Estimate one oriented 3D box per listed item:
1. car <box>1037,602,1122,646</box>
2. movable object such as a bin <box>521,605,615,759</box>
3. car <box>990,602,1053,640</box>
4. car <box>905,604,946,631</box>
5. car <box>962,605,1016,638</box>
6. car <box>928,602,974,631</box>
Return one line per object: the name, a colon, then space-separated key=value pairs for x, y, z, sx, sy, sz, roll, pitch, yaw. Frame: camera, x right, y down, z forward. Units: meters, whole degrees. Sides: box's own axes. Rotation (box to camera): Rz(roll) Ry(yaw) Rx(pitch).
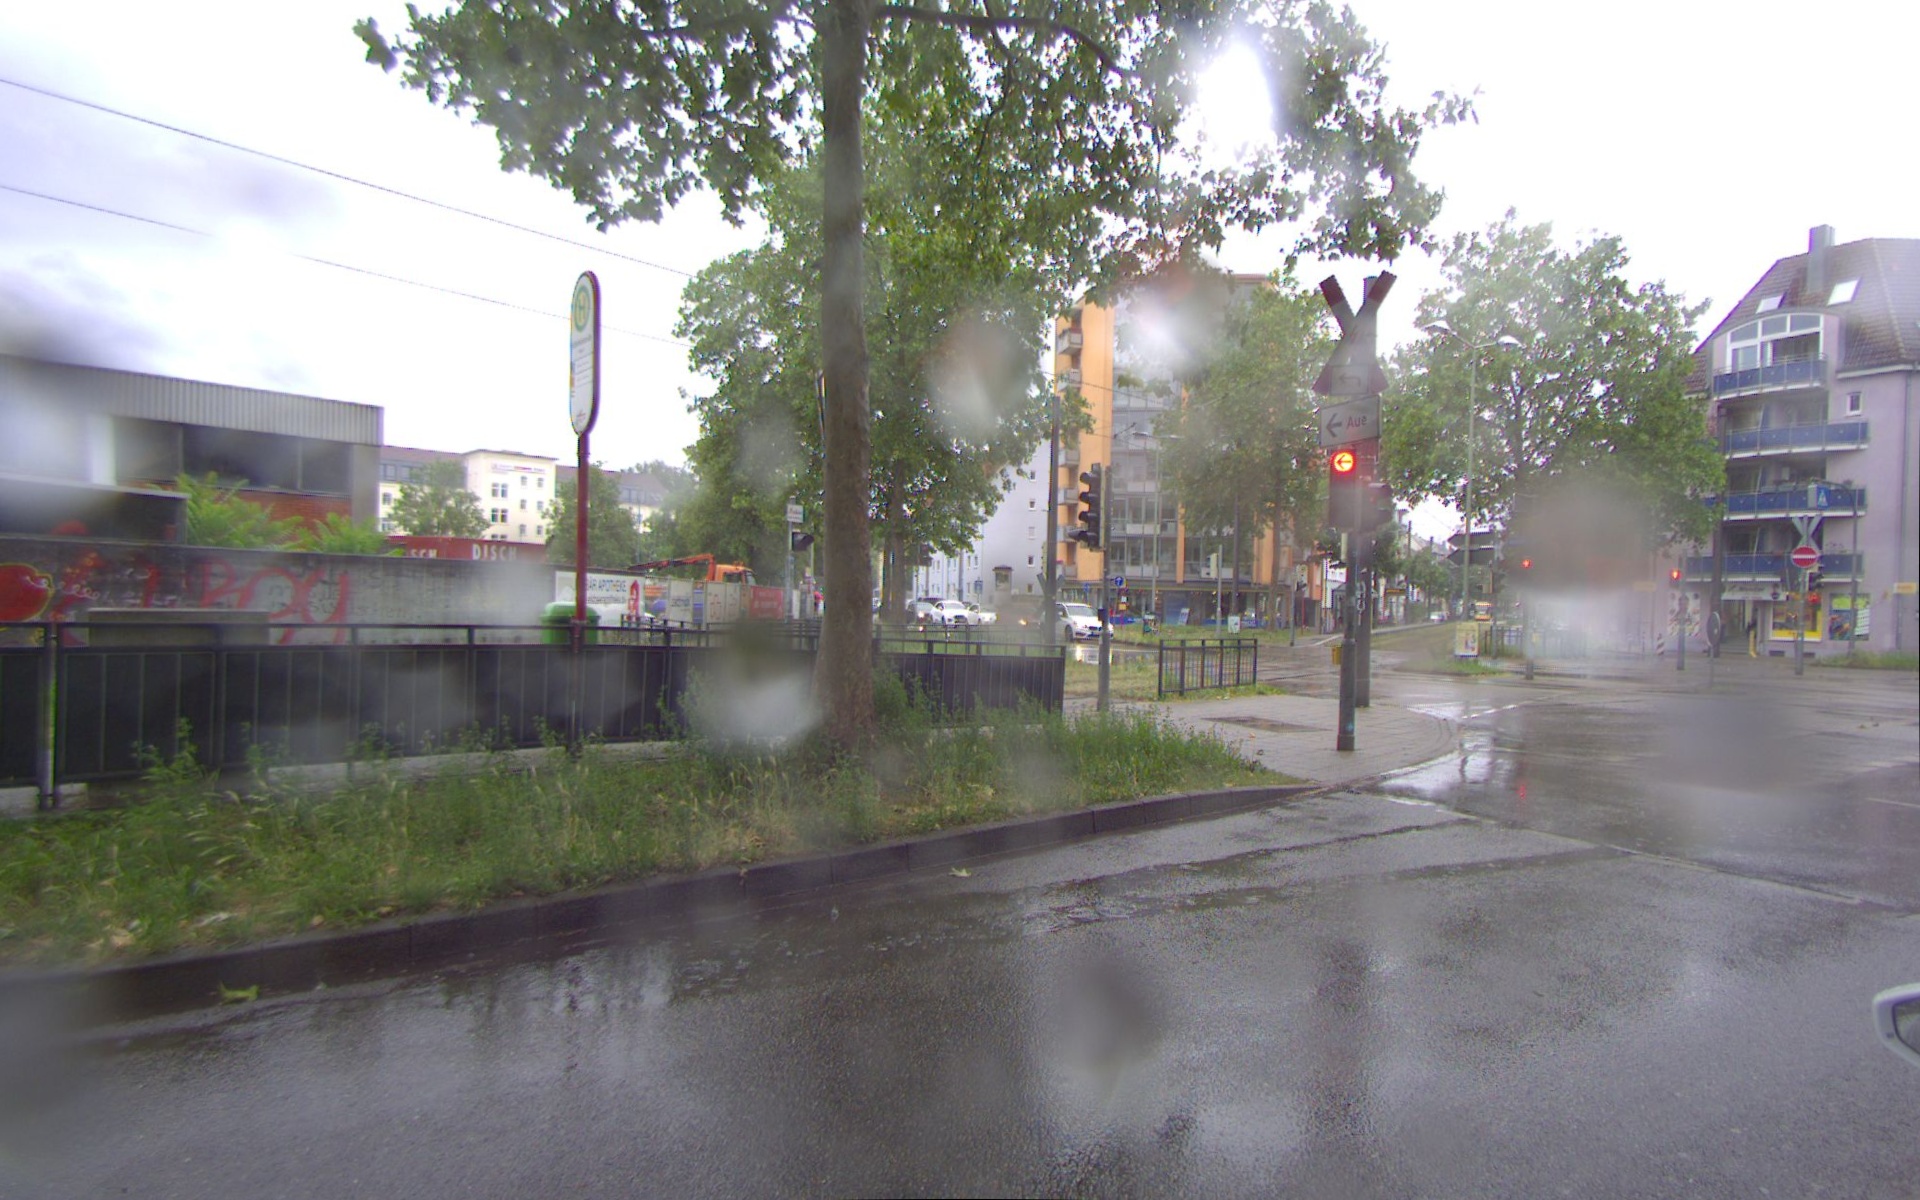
car: x=4.722 y=0.970 z=40.335 sx=1.941 sy=1.673 sz=4.004 roll=1 pitch=-1 yaw=-17
movable object such as a bin: x=-2.953 y=0.598 z=7.580 sx=0.412 sy=1.104 sz=0.528 roll=0 pitch=-1 yaw=44
car: x=2.793 y=0.982 z=46.343 sx=1.697 sy=1.661 sz=3.780 roll=1 pitch=-1 yaw=-17
car: x=-2.247 y=1.156 z=64.507 sx=1.697 sy=1.661 sz=3.780 roll=1 pitch=-1 yaw=-17
car: x=1.458 y=1.133 z=52.463 sx=1.697 sy=1.661 sz=3.780 roll=1 pitch=-1 yaw=-17
car: x=-0.557 y=0.965 z=58.390 sx=1.697 sy=1.661 sz=3.780 roll=1 pitch=-1 yaw=-17
